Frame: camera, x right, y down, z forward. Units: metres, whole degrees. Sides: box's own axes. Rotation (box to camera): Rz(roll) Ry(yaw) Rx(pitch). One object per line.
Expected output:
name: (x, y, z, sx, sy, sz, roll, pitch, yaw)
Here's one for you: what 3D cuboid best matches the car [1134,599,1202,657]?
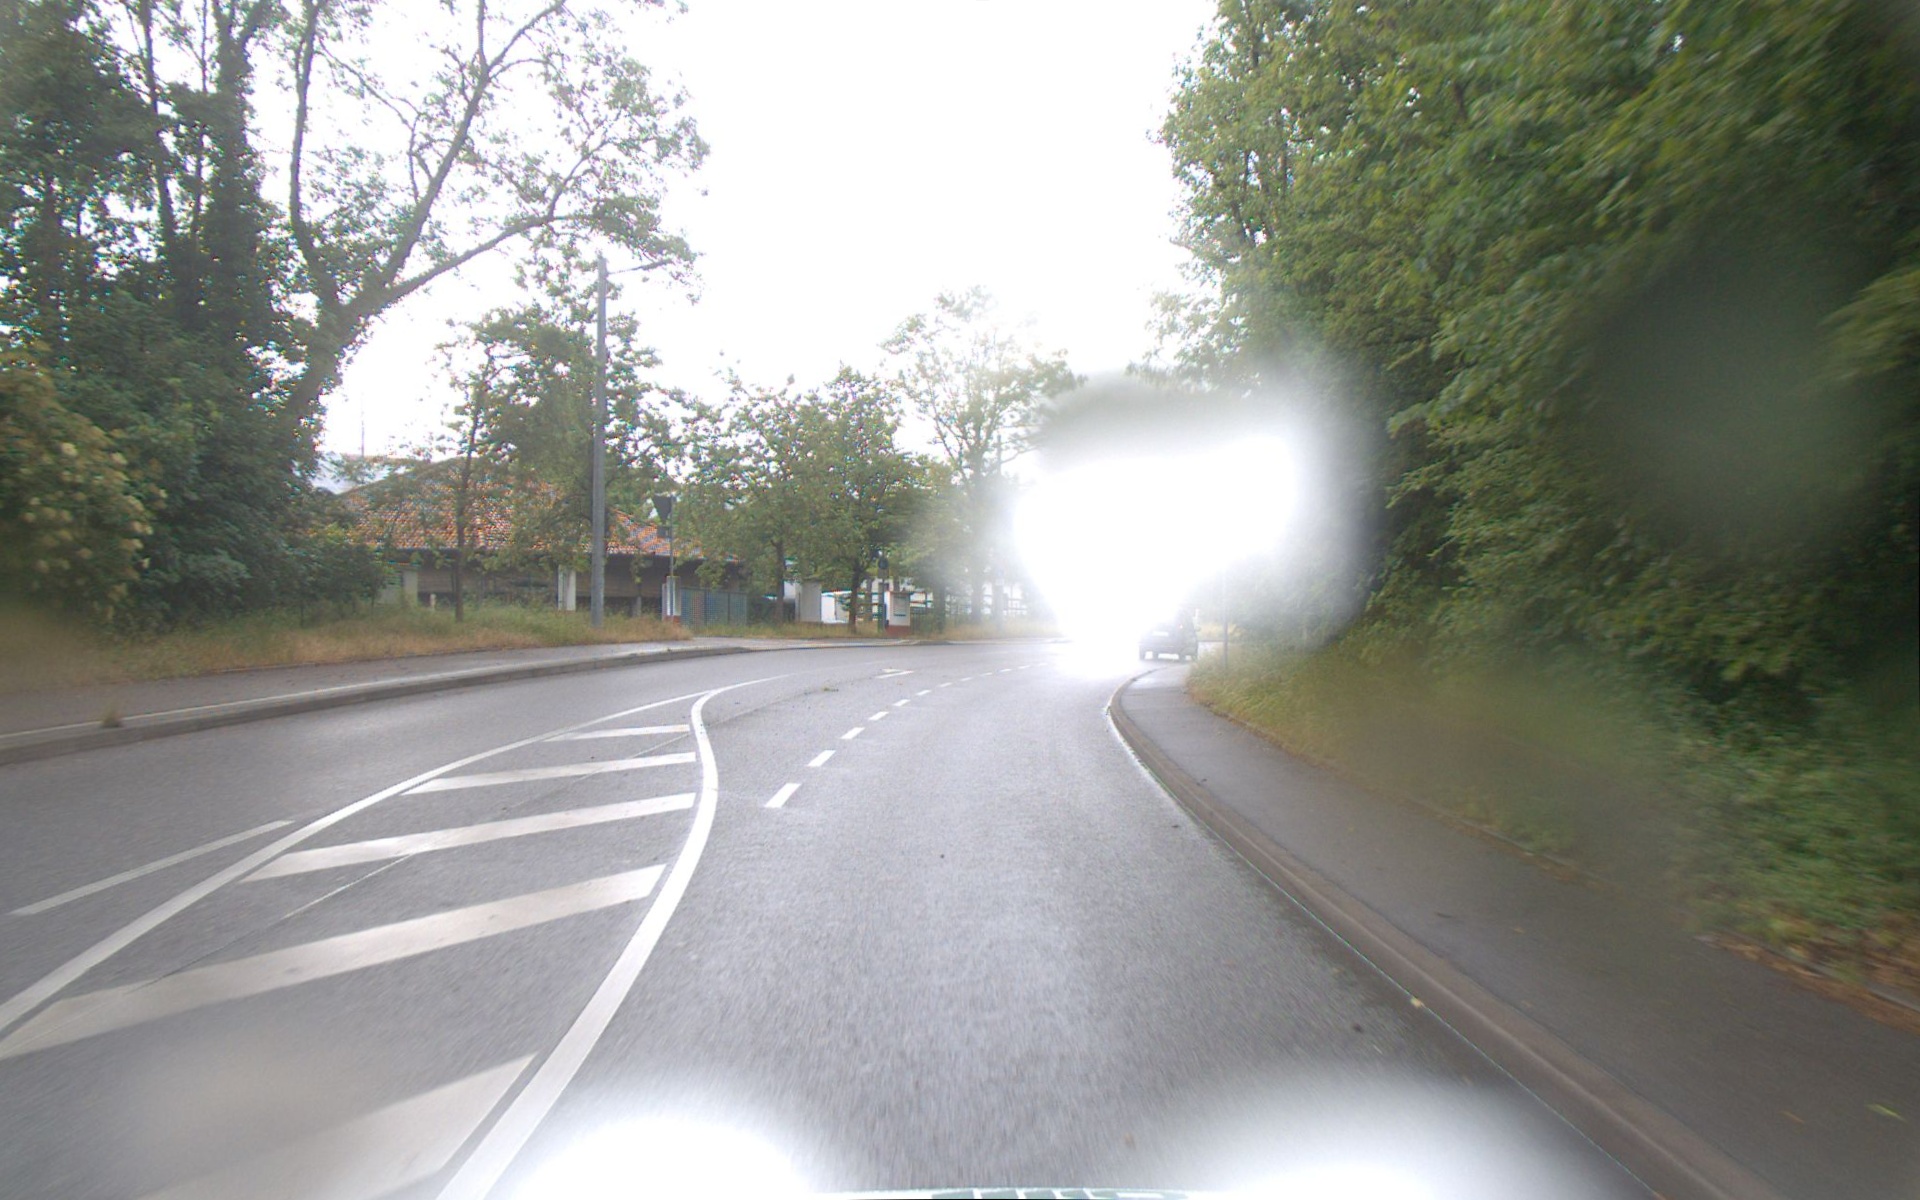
car: (7.268, 0.985, 57.464, 1.788, 1.825, 4.003, -4, -2, 14)
